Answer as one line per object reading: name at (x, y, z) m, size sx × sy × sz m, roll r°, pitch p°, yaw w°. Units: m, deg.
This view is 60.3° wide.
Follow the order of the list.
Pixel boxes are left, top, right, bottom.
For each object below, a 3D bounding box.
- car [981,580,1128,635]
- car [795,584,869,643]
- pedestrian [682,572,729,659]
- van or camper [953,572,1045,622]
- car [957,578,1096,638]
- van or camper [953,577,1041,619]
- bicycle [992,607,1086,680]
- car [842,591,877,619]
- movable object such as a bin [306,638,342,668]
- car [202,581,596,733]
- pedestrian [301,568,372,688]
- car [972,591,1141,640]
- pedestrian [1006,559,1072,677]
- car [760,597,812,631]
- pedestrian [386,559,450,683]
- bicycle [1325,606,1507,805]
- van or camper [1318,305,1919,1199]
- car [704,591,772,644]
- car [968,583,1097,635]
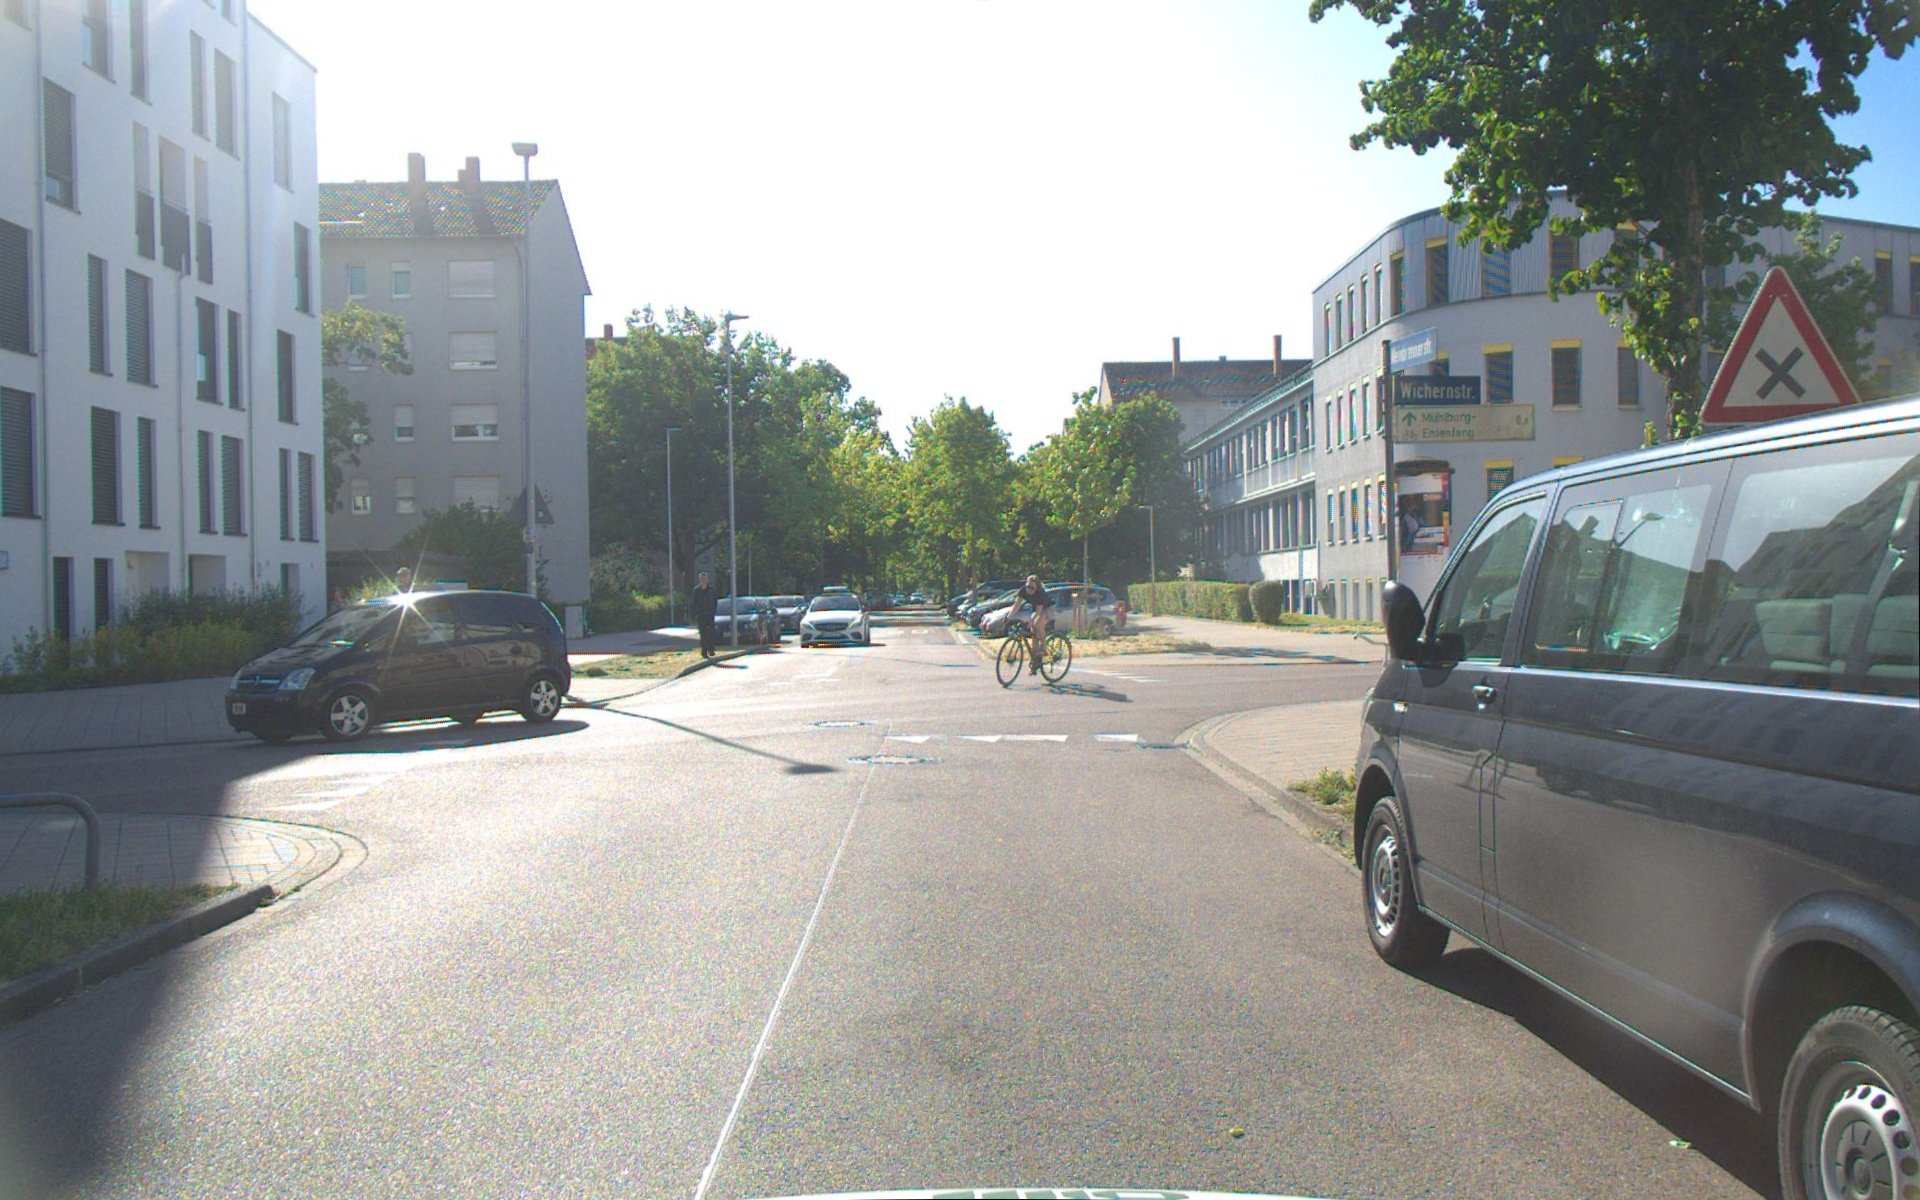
car at (2.657, 0.225, 47.066) m, size 4.008 × 1.518 × 1.727 m, roll 0°, pitch -1°, yaw -4°
car at (-3.541, 0.352, 46.474) m, size 1.847 × 1.531 × 4.636 m, roll -1°, pitch 0°, yaw -2°
pedestrian at (-5.231, 0.320, 34.048) m, size 0.853 × 1.744 × 0.978 m, roll -1°, pitch 0°, yaw -5°
van or camper at (1.688, -0.118, 72.863) m, size 3.906 × 2.049 × 1.999 m, roll 1°, pitch -1°, yaw -2°
car at (2.079, 0.259, 52.289) m, size 4.194 × 1.795 × 1.999 m, roll 1°, pitch -1°, yaw -4°
van or camper at (1.670, -0.090, 75.767) m, size 3.906 × 1.803 × 1.999 m, roll 1°, pitch -1°, yaw -2°
bicycle at (1.175, 0.615, 24.208) m, size 0.538 × 1.029 × 1.915 m, roll -1°, pitch -1°, yaw 31°
car at (-7.656, 0.381, 126.655) m, size 1.951 × 2.049 × 4.003 m, roll 1°, pitch -1°, yaw 7°
movable object such as a bin at (-12.005, 0.996, 31.225) m, size 0.266 × 0.551 × 0.686 m, roll -1°, pitch 0°, yaw 19°
car at (-6.366, 0.617, 19.171) m, size 1.708 × 1.557 × 4.098 m, roll 1°, pitch -1°, yaw 36°
pedestrian at (-11.513, 0.493, 30.547) m, size 0.762 × 2.157 × 0.953 m, roll 0°, pitch 2°, yaw 42°
car at (2.834, 0.451, 49.108) m, size 4.775 × 1.296 × 1.727 m, roll -2°, pitch 0°, yaw -5°
pedestrian at (1.158, 0.260, 24.069) m, size 0.675 × 1.669 × 1.047 m, roll 1°, pitch -1°, yaw 19°
car at (-6.662, 0.540, 63.611) m, size 1.596 × 1.255 × 4.192 m, roll 1°, pitch 0°, yaw -1°
pedestrian at (-8.549, 0.330, 26.110) m, size 0.829 × 1.918 × 0.789 m, roll 1°, pitch -1°, yaw -11°
bicycle at (3.020, 0.650, 11.151) m, size 0.517 × 1.214 × 2.028 m, roll -1°, pitch 0°, yaw -4°
van or camper at (2.691, 0.442, 5.070) m, size 1.949 × 1.895 × 5.386 m, roll 1°, pitch 0°, yaw -1°
car at (-6.458, 0.506, 48.443) m, size 1.634 × 1.445 × 3.997 m, roll 1°, pitch 0°, yaw -3°
car at (2.381, 0.316, 55.116) m, size 4.120 × 1.624 × 1.999 m, roll 1°, pitch -1°, yaw -3°
